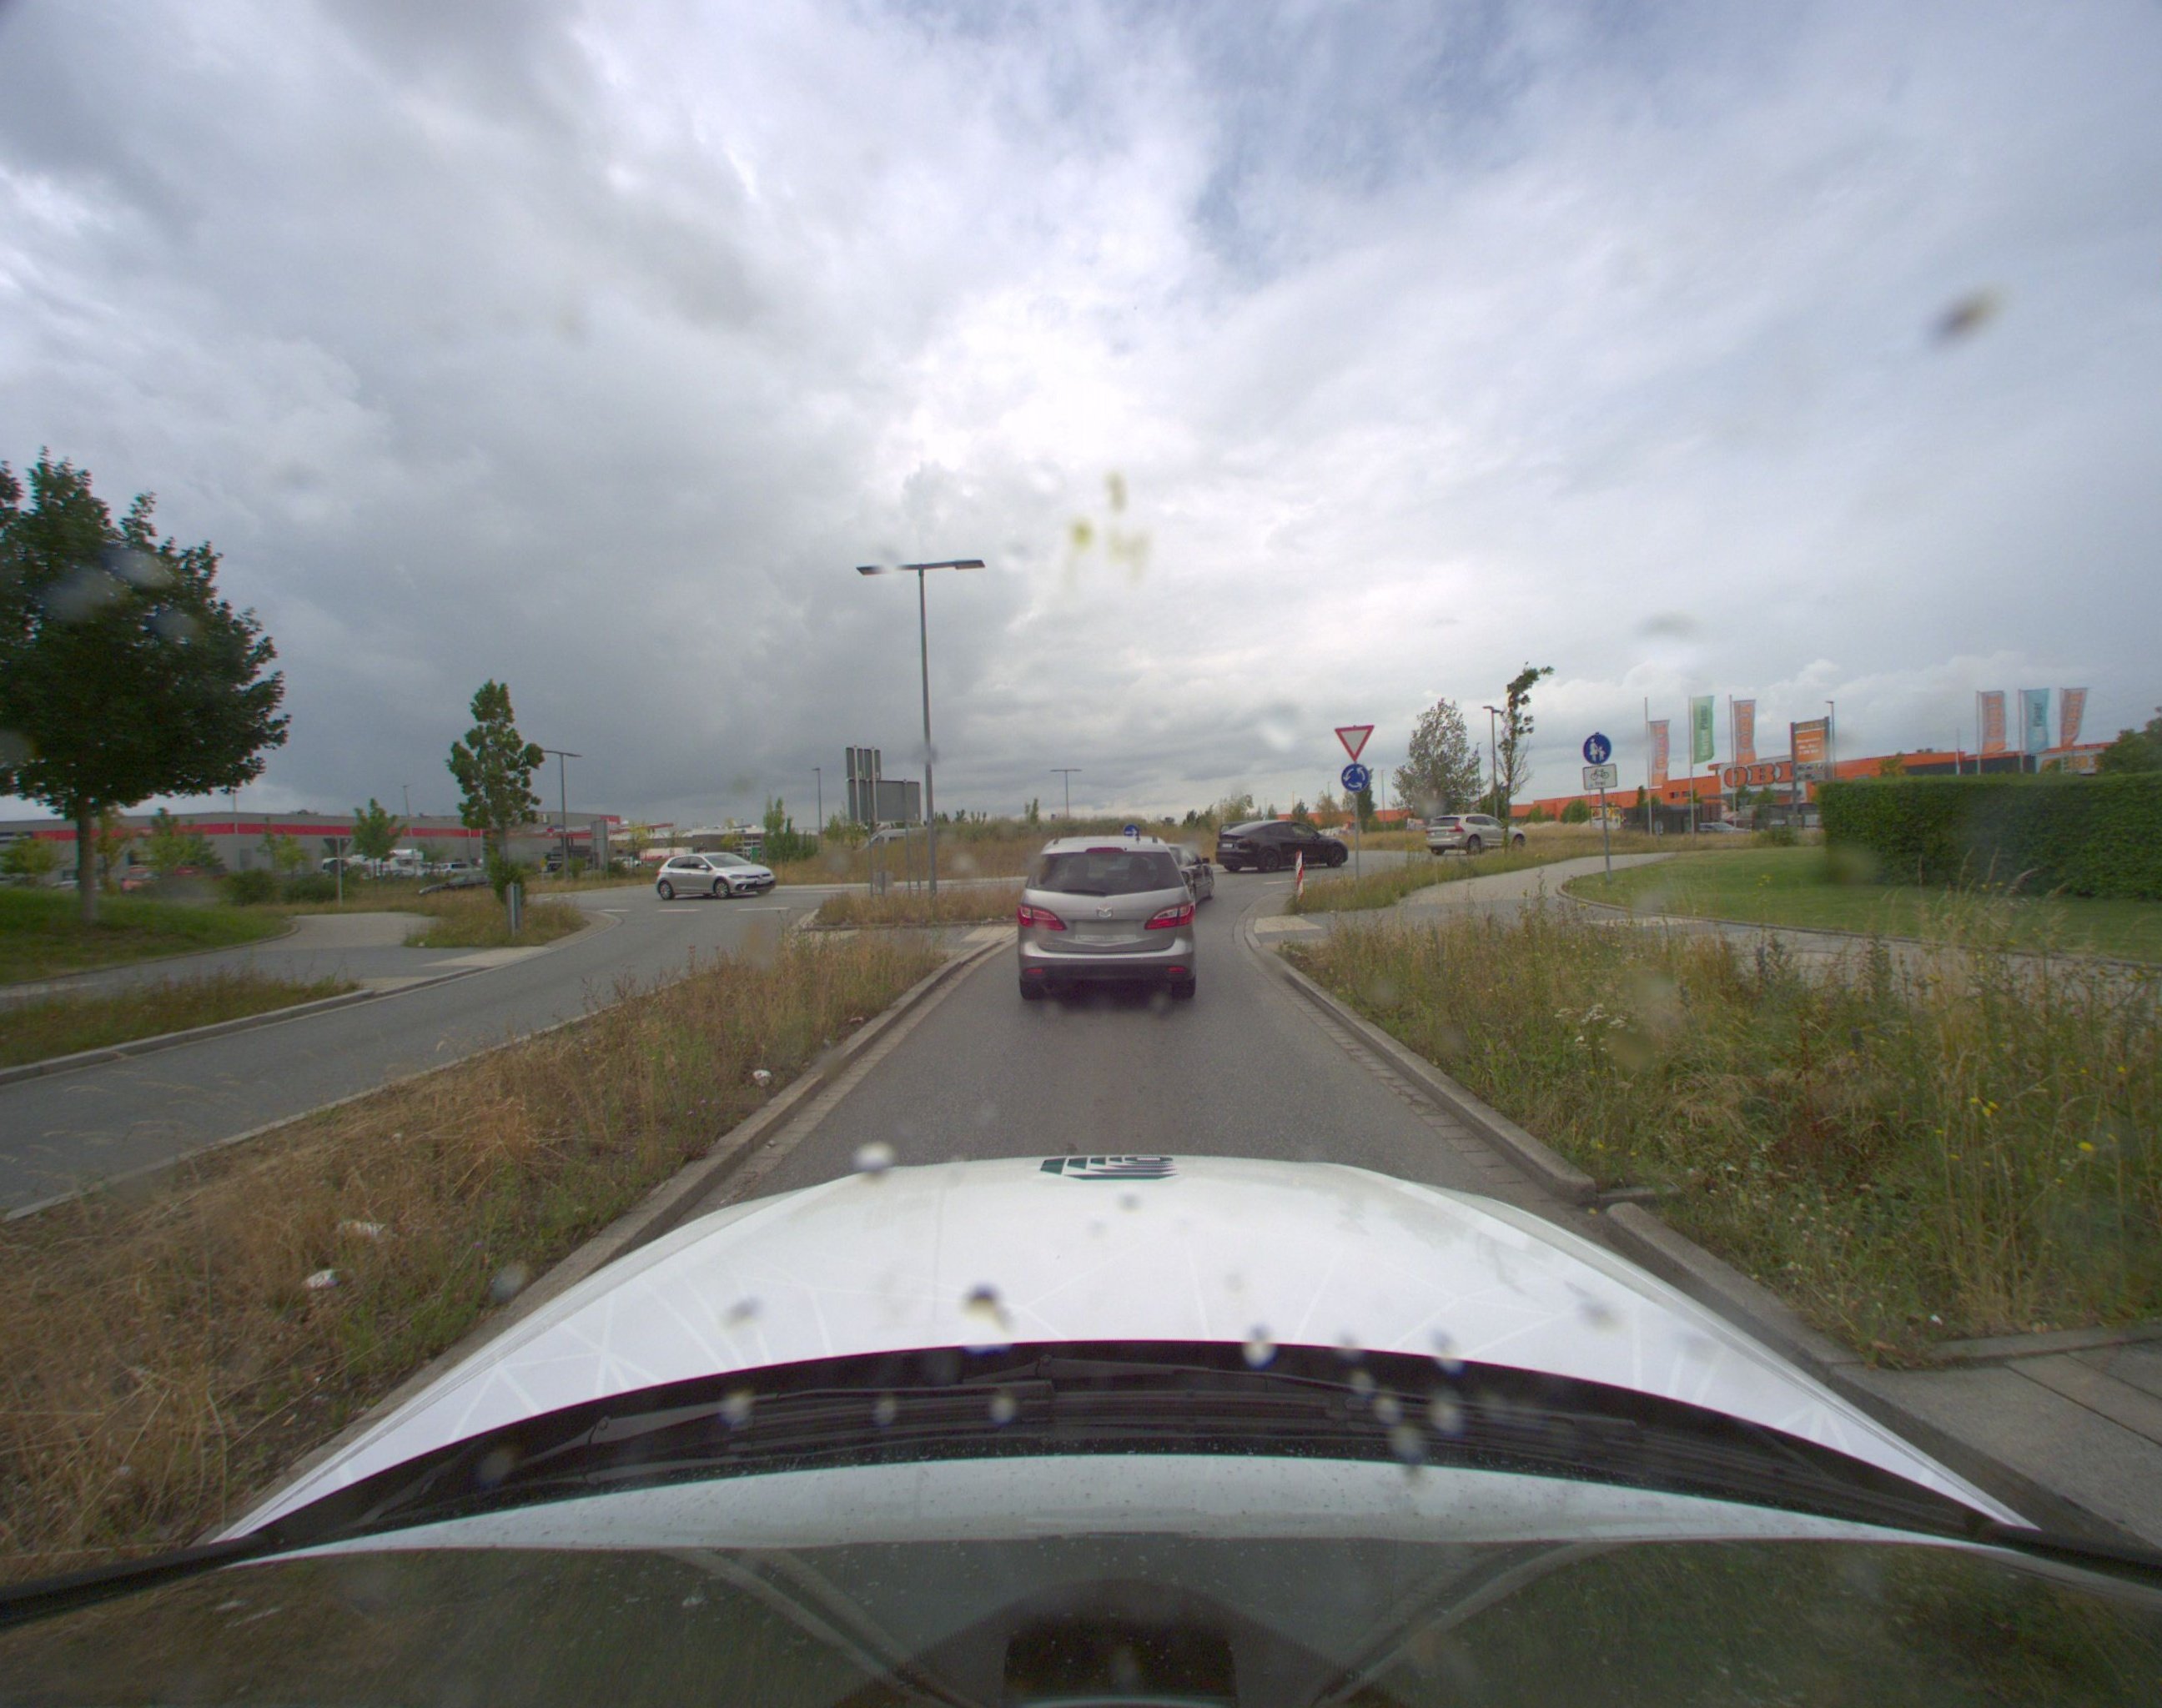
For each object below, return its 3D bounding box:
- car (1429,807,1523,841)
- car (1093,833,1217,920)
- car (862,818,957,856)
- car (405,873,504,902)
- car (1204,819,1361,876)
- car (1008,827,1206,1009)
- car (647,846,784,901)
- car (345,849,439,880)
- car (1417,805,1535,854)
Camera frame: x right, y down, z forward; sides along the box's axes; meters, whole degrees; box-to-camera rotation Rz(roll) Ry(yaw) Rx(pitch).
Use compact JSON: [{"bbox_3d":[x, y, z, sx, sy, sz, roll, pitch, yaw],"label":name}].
[{"bbox_3d":[21.607,-1.655,44.705,4.296,1.648,1.877,-3,2,13],"label":"car"},{"bbox_3d":[1.635,0.359,16.585,1.724,1.403,4.016,0,3,16],"label":"car"},{"bbox_3d":[-11.144,-1.062,53.058,5.720,2.387,2.262,0,-1,-25],"label":"car"},{"bbox_3d":[-32.863,1.733,42.851,3.857,1.325,1.457,-2,0,-27],"label":"car"},{"bbox_3d":[6.529,-0.257,26.309,4.784,1.498,1.928,-4,3,-26],"label":"car"},{"bbox_3d":[0.315,0.520,9.214,1.731,1.598,4.000,-1,1,2],"label":"car"},{"bbox_3d":[-11.629,0.628,25.858,3.949,1.464,1.825,-3,1,28],"label":"car"},{"bbox_3d":[-66.115,0.997,78.390,2.455,2.820,7.687,-1,-1,0],"label":"car"},{"bbox_3d":[16.296,-1.028,33.554,4.788,1.738,1.927,-4,3,-29],"label":"car"}]
